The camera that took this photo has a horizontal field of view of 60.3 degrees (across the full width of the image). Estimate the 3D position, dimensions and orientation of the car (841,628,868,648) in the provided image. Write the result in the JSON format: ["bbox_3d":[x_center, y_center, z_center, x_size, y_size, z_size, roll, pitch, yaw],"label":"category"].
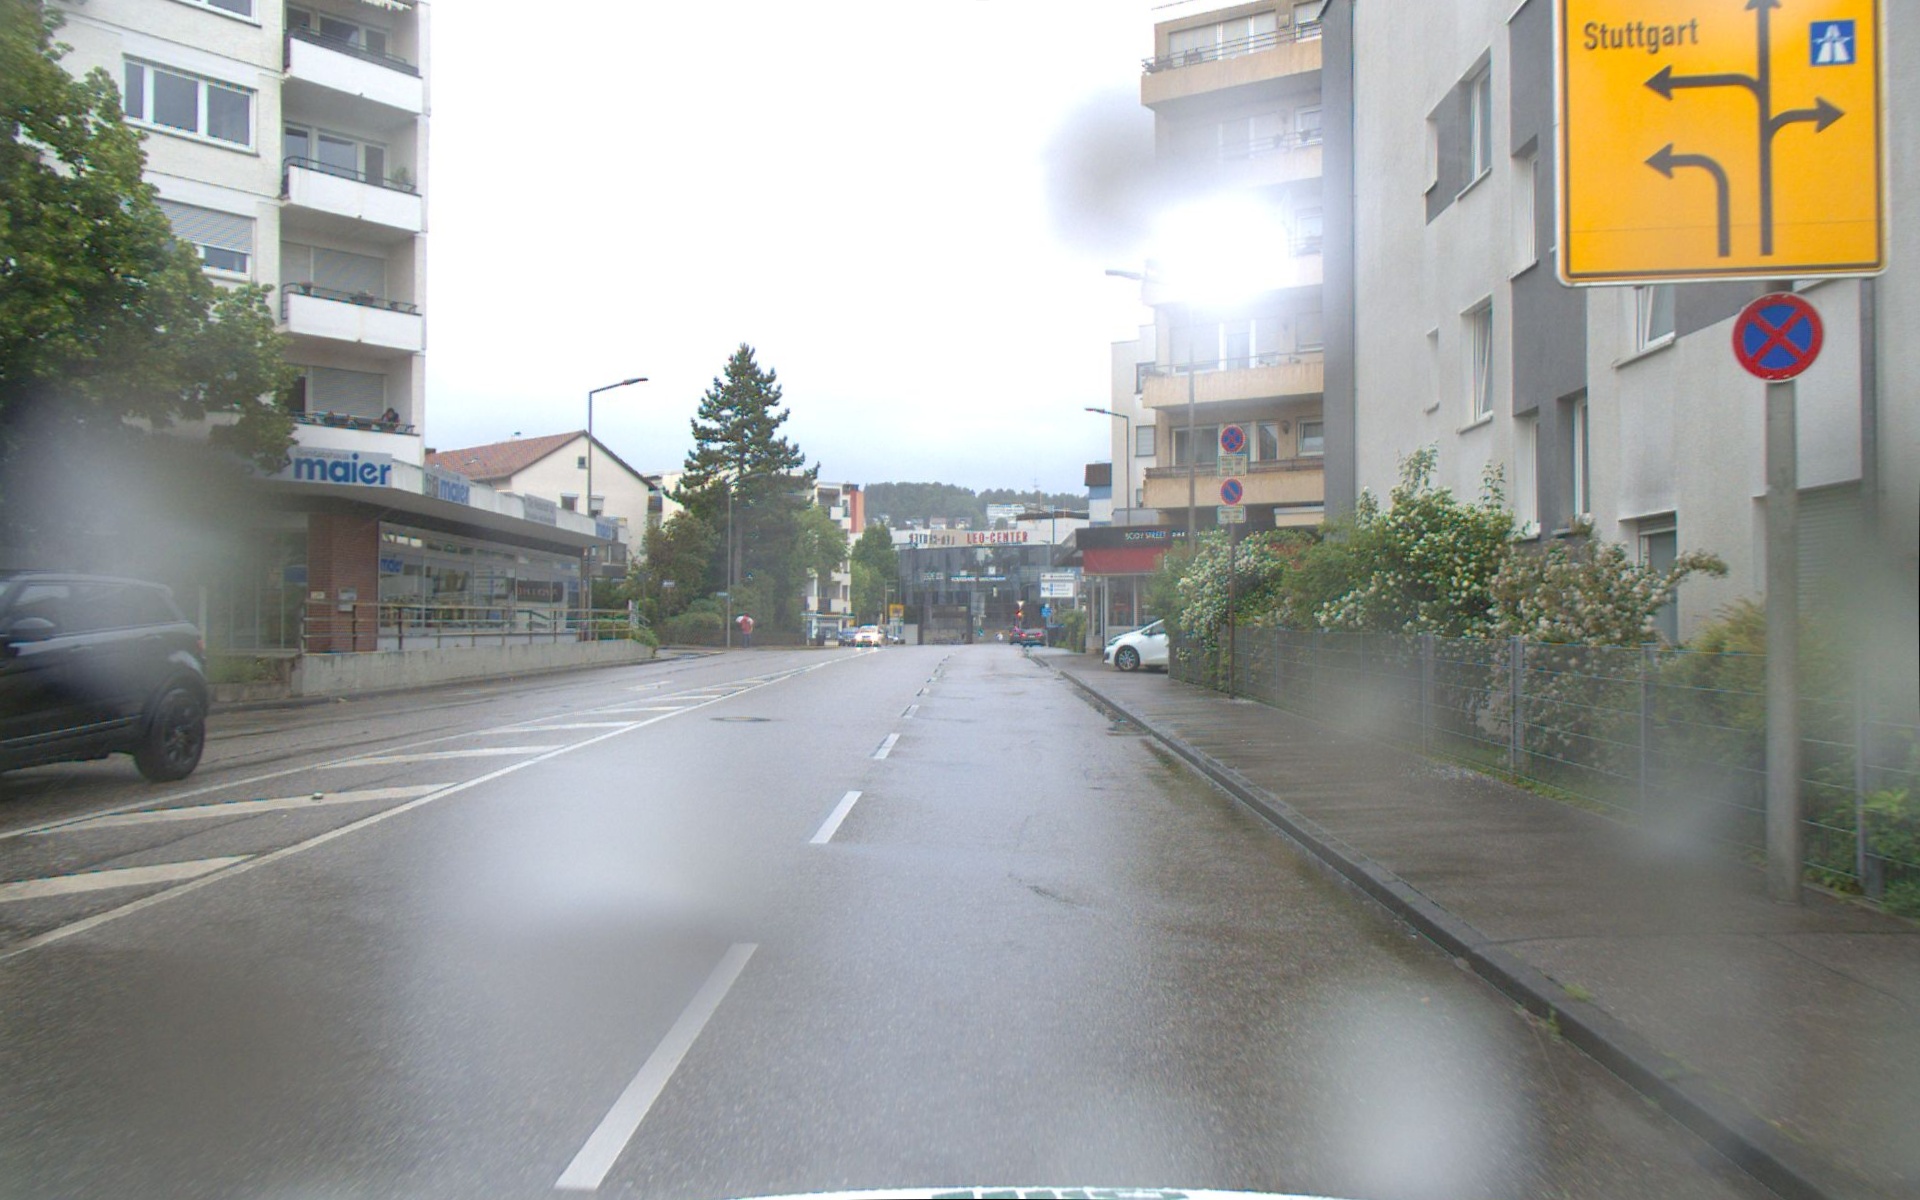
[{"bbox_3d":[-8.385,3.029,131.960,1.617,1.548,4.326,0,-1,4],"label":"car"}]

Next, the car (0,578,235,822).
[{"bbox_3d":[-7.046,0.635,11.542,1.764,1.584,4.321,1,0,5],"label":"car"}]

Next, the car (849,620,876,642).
[{"bbox_3d":[-6.832,2.176,116.300,1.663,1.433,3.999,-2,0,-1],"label":"car"}]

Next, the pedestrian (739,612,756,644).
[{"bbox_3d":[-10.928,1.462,85.079,0.852,1.635,1.102,1,-2,-6],"label":"pedestrian"}]

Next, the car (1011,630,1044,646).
[{"bbox_3d":[6.349,3.559,155.160,1.768,1.444,3.998,-1,-2,23],"label":"car"}]

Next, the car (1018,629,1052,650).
[{"bbox_3d":[6.200,3.240,135.664,1.951,1.561,4.650,1,-3,13],"label":"car"}]

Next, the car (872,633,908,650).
[{"bbox_3d":[-7.772,4.572,184.369,1.976,1.538,4.383,4,0,-33],"label":"car"}]

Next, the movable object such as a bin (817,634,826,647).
[{"bbox_3d":[-10.686,3.160,127.837,0.634,0.983,0.683,0,-2,3],"label":"movable object such as a bin"}]

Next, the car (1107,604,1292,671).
[{"bbox_3d":[5.930,0.900,41.107,4.177,1.520,1.870,1,1,29],"label":"car"}]
